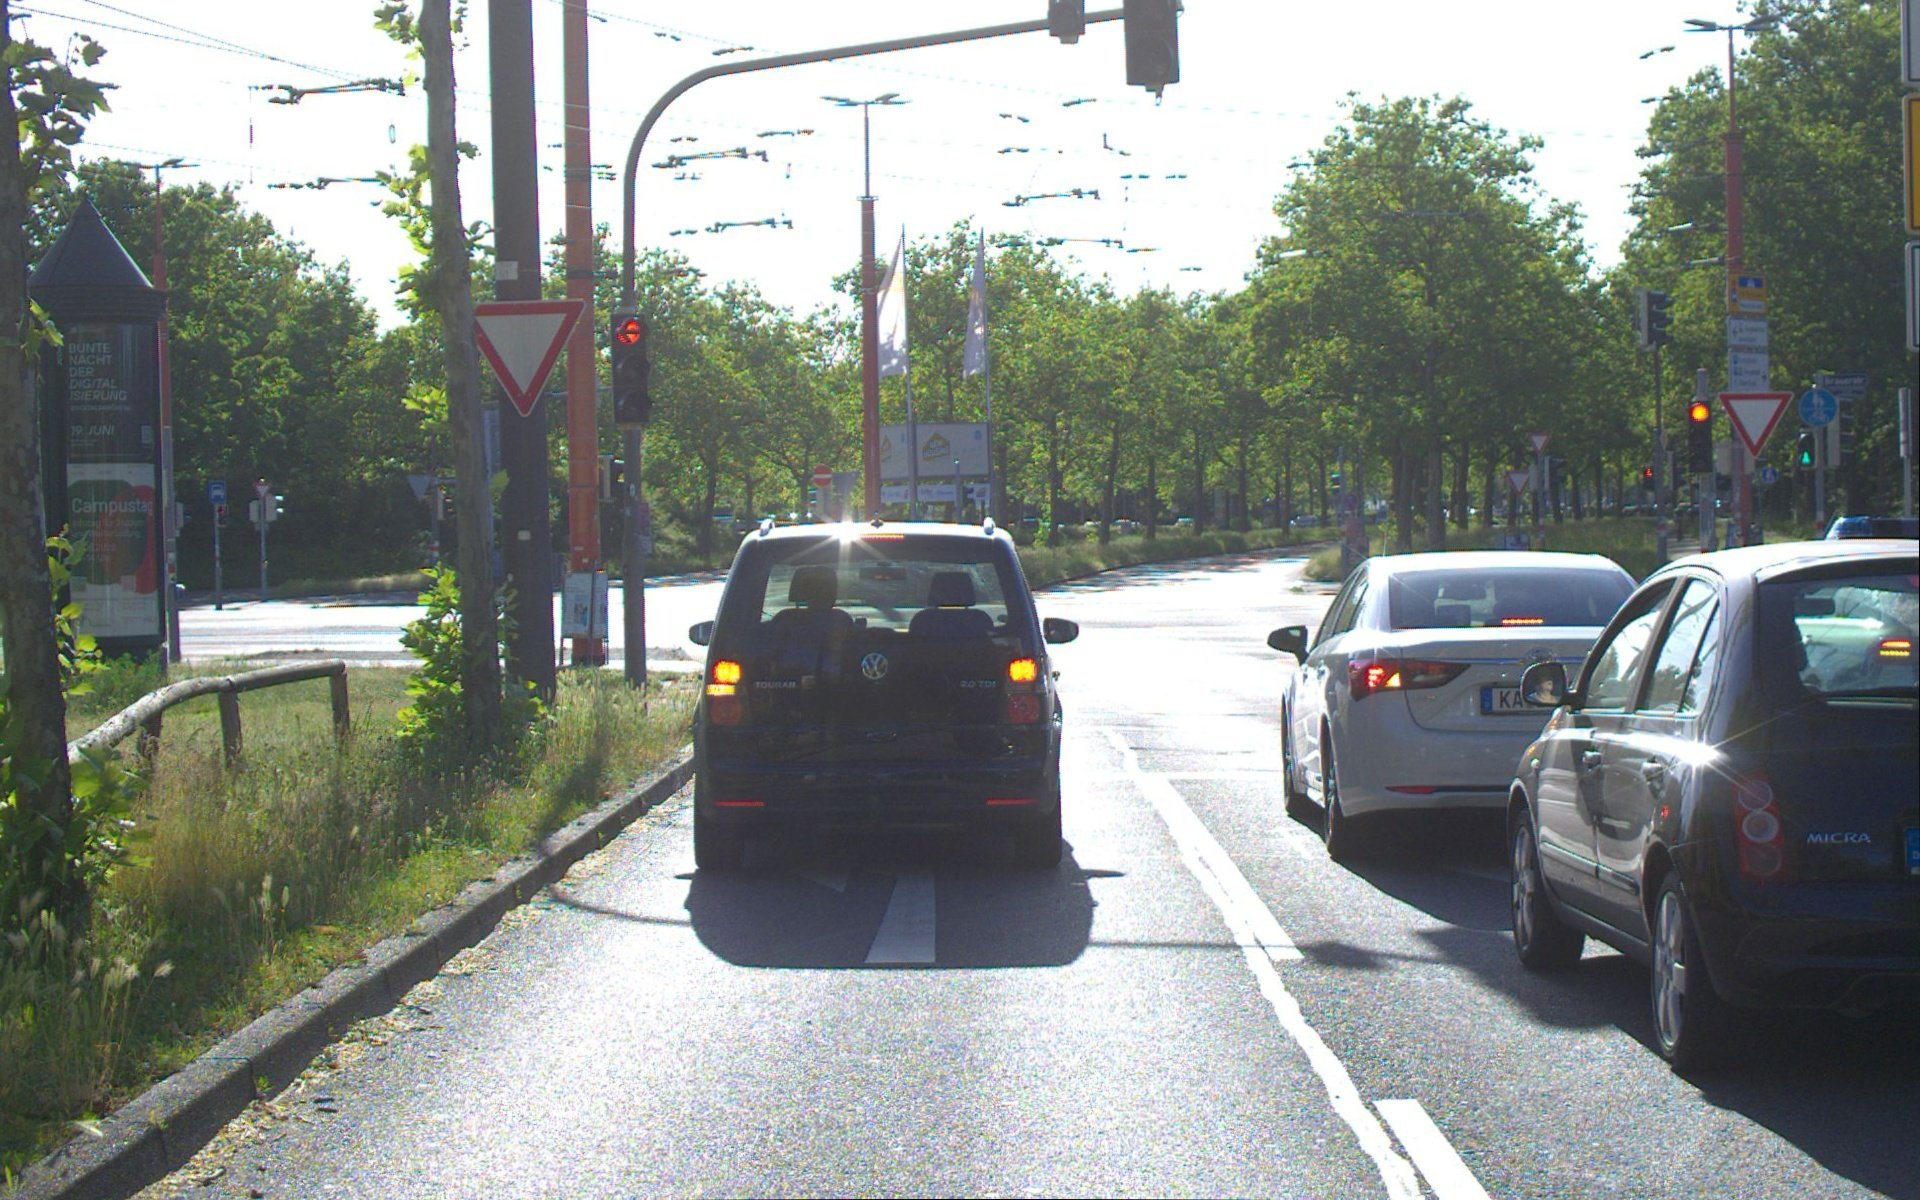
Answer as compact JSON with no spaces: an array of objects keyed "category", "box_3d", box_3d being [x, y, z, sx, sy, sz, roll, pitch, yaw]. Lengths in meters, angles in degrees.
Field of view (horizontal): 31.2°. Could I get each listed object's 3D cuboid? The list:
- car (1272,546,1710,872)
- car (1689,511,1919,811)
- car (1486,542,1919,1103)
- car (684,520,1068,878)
[{"category":"car","box_3d":[2.581,0.468,17.562,1.678,1.470,4.130,0,1,1]},{"category":"car","box_3d":[5.920,0.274,21.104,1.893,1.627,4.502,-1,1,0]},{"category":"car","box_3d":[2.787,0.568,10.971,1.639,1.489,3.503,0,1,-1]},{"category":"car","box_3d":[-0.396,0.422,17.020,1.710,1.598,3.350,0,1,-1]}]
